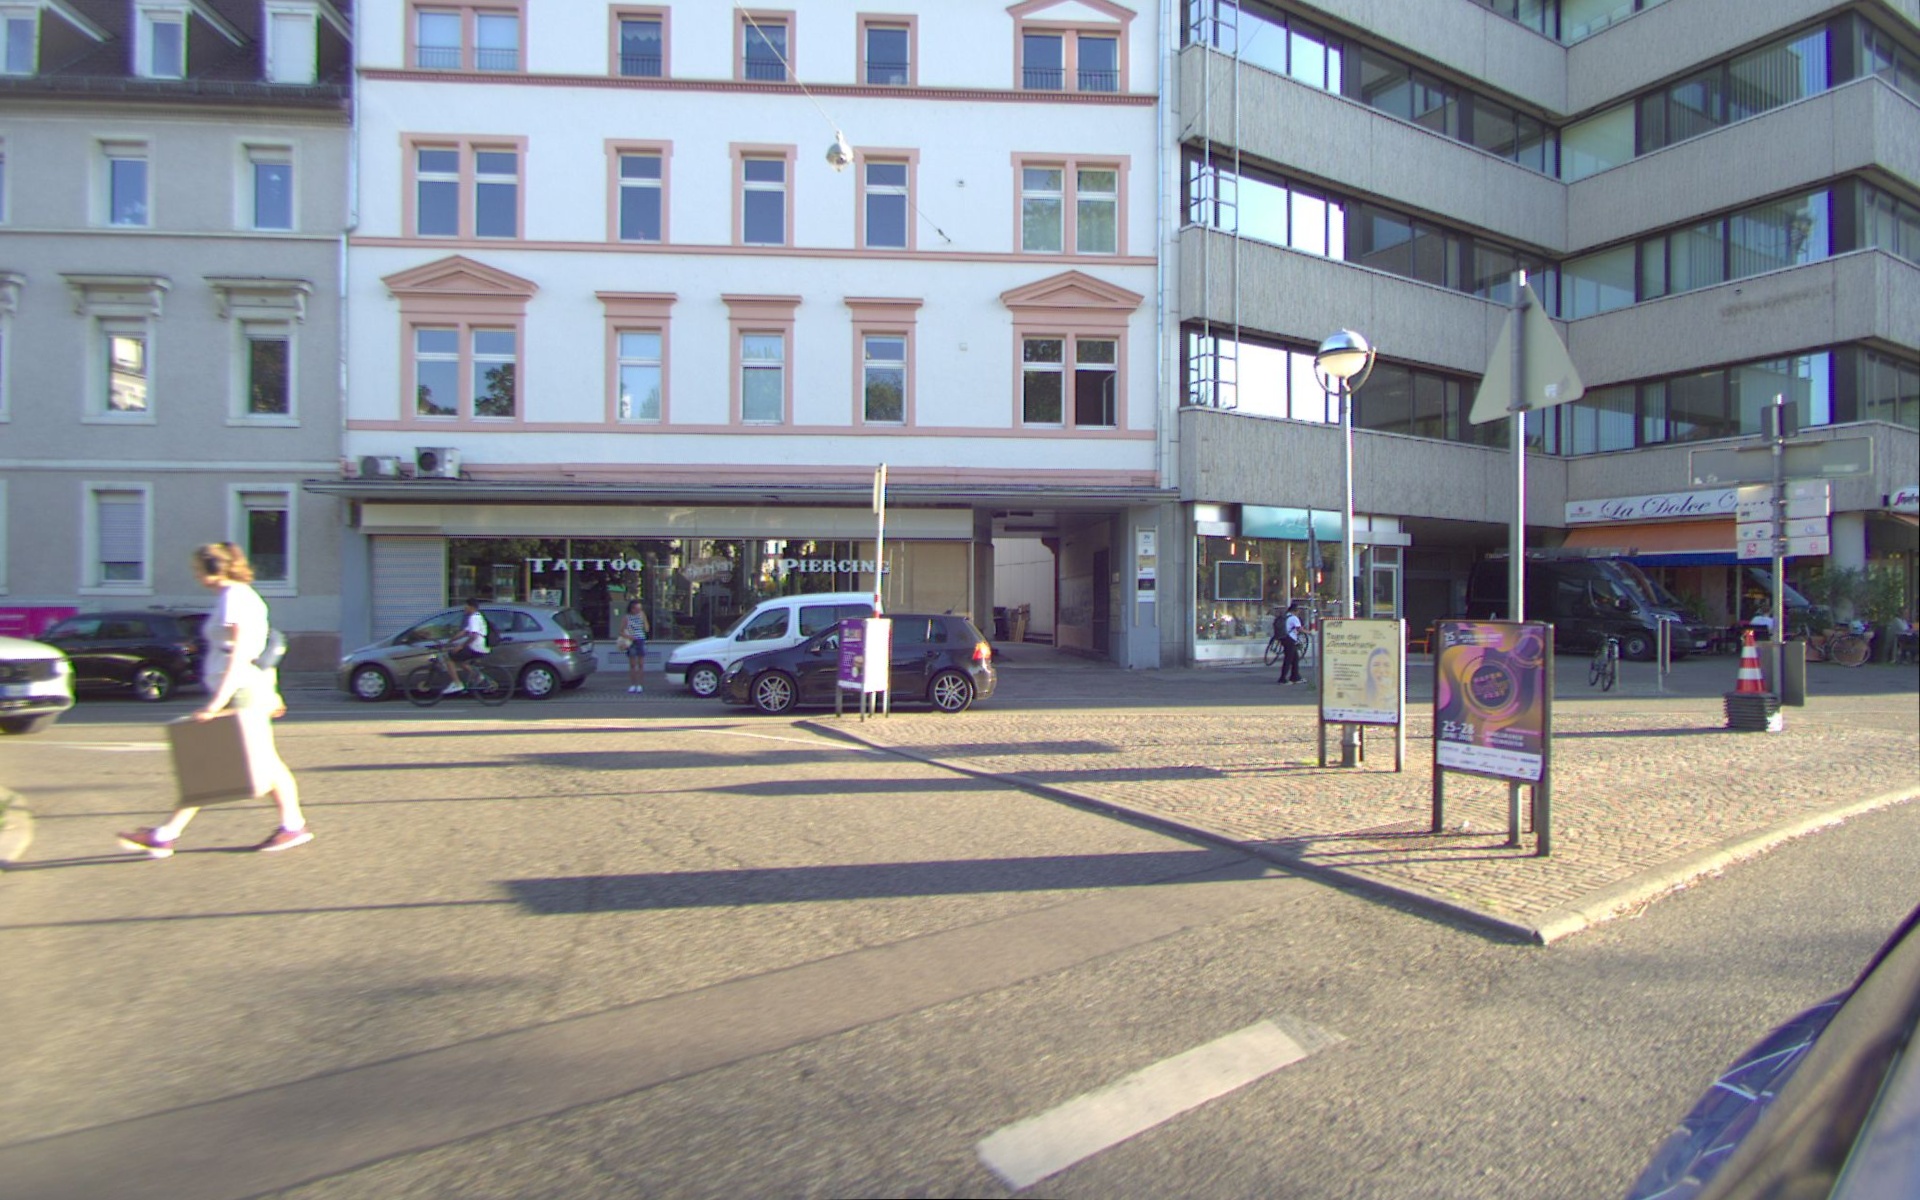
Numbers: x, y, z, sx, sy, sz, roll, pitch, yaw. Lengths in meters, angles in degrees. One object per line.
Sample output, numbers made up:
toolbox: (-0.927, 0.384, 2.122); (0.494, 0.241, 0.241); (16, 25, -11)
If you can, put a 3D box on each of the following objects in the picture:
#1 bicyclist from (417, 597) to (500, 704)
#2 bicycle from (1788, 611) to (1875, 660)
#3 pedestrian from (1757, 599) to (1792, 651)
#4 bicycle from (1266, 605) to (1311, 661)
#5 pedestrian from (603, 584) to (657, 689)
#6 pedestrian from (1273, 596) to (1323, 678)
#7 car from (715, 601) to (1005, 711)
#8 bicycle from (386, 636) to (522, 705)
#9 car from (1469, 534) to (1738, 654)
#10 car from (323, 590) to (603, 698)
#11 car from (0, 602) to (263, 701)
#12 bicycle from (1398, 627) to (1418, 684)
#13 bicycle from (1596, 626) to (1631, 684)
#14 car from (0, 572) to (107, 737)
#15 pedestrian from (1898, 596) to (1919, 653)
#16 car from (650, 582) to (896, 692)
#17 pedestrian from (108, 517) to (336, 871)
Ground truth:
bicyclist: (-7.954, 0.785, 16.075); (0.990, 1.635, 0.722); (-1, -1, -4)
bicycle: (19.800, 0.793, 23.028); (1.438, 1.005, 0.524); (2, 3, 36)
pedestrian: (19.468, 0.595, 24.187); (0.412, 1.208, 0.463); (0, 4, -27)
bicycle: (7.364, 0.715, 22.653); (0.485, 1.207, 1.407); (-1, -1, 38)
pedestrian: (-5.870, 0.646, 18.007); (0.779, 1.823, 0.639); (-1, -1, -4)
pedestrian: (6.562, 0.709, 19.674); (0.778, 1.555, 0.569); (-1, 1, 0)
car: (-1.466, 0.789, 15.303); (4.080, 1.505, 1.938); (-1, -1, -3)
bicycle: (-7.994, 1.103, 16.054); (1.798, 1.025, 0.733); (-1, -1, -4)
car: (16.294, -0.209, 26.002); (2.138, 2.761, 5.441); (0, 1, -30)
car: (-8.578, 0.717, 17.768); (3.921, 1.660, 2.002); (-1, 3, -3)
car: (-14.601, 0.846, 17.386); (3.920, 1.511, 1.828); (-1, 2, -4)
bicycle: (8.349, 1.022, 18.887); (0.299, 1.005, 1.284); (-1, -1, 23)
bicycle: (12.172, 1.005, 18.864); (0.299, 1.005, 1.284); (-1, -1, 23)
car: (-12.752, 0.620, 11.465); (4.624, 1.794, 1.998); (-1, -1, 3)
pedestrian: (22.983, 0.588, 24.291); (0.549, 1.338, 0.612); (0, 0, -36)
car: (-3.240, 0.609, 18.218); (4.145, 1.806, 1.934); (-1, 1, -4)
pedestrian: (-4.047, 0.466, 5.596); (0.959, 1.753, 0.726); (0, -1, -36)
